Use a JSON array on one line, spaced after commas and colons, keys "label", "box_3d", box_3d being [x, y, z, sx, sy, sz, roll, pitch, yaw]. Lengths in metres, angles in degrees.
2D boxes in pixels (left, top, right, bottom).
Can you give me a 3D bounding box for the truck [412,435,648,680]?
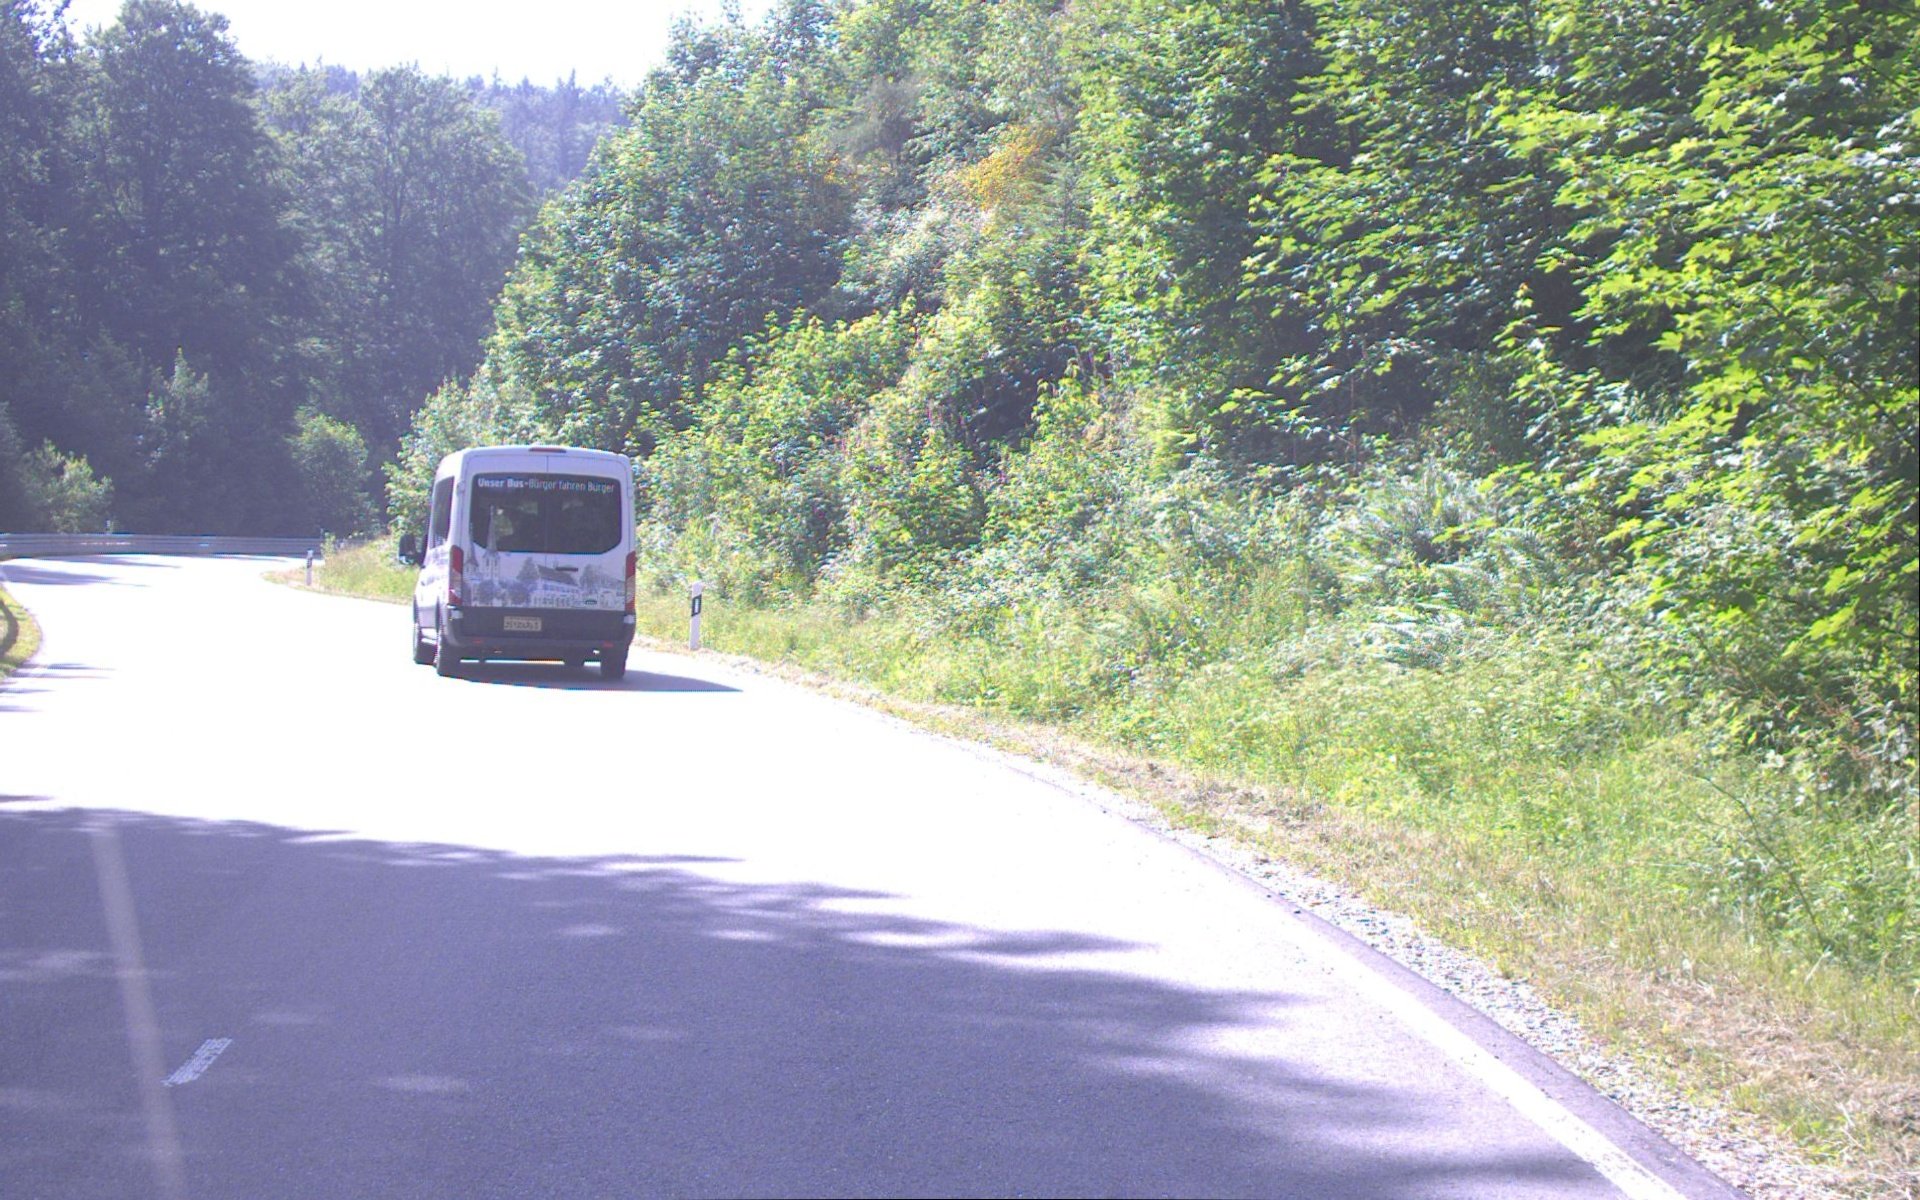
[{"label": "truck", "box_3d": [-4.859, -0.496, 38.185, 2.115, 2.489, 5.361, 1, 1, -12]}]
